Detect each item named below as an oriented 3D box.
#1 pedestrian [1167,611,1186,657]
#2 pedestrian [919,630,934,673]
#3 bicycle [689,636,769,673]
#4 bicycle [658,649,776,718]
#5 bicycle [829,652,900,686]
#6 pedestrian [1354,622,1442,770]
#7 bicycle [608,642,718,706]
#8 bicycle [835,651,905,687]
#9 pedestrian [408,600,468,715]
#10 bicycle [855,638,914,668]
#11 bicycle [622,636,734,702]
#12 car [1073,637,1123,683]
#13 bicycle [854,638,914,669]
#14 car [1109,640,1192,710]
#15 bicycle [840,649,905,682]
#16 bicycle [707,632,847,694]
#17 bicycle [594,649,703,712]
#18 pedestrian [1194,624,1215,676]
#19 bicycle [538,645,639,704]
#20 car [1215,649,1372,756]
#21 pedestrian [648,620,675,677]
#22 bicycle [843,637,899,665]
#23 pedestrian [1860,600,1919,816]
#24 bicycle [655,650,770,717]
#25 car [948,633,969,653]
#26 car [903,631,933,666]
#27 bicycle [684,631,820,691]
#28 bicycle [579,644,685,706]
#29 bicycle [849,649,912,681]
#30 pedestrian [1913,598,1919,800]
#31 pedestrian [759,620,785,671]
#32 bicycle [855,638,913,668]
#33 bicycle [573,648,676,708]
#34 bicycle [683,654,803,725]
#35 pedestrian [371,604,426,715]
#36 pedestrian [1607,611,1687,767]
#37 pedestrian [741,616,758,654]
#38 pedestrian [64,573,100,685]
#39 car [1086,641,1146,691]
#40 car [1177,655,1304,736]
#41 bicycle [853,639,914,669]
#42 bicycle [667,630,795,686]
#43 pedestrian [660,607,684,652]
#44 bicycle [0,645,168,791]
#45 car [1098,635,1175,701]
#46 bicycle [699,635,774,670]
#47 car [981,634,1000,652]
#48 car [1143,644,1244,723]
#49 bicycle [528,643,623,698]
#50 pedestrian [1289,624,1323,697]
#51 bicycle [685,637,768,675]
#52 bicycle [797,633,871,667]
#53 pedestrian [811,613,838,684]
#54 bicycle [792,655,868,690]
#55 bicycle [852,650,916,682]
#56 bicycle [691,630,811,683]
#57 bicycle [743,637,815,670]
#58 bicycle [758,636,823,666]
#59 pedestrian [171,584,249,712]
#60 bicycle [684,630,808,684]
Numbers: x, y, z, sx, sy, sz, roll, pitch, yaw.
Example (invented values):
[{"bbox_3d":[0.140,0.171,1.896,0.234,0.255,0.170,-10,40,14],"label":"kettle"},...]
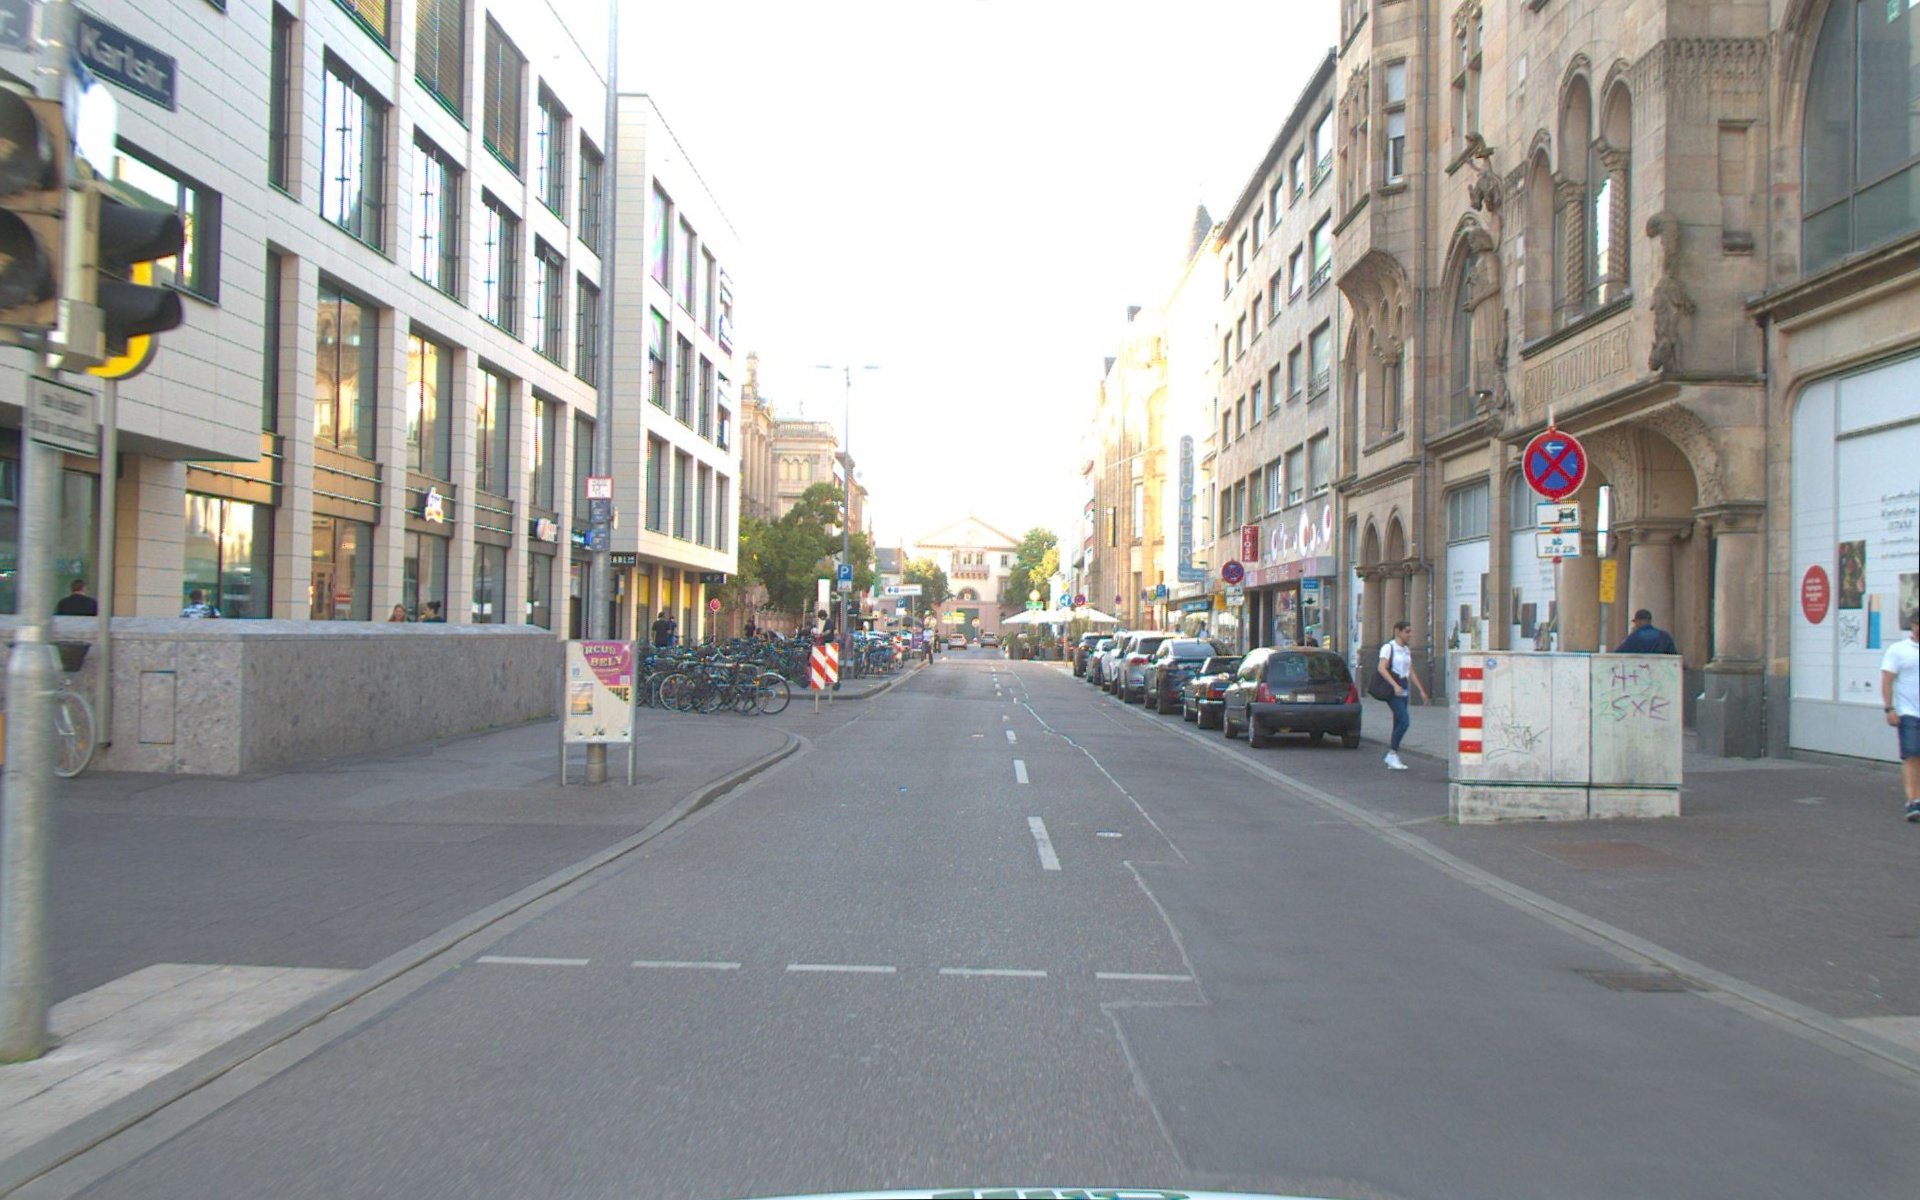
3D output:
[{"bbox_3d":[8.496,1.327,64.887,0.630,1.777,0.671,1,-1,-1],"label":"pedestrian"},{"bbox_3d":[-1.435,2.216,71.683,0.586,1.855,0.452,1,-1,1],"label":"pedestrian"},{"bbox_3d":[-6.454,1.516,46.256,2.103,0.970,0.640,1,-1,2],"label":"bicycle"},{"bbox_3d":[-4.265,1.481,29.109,1.945,1.141,0.553,3,-2,-29],"label":"bicycle"},{"bbox_3d":[-2.913,2.113,50.527,2.103,0.970,0.640,1,-1,2],"label":"bicycle"},{"bbox_3d":[5.292,1.149,20.005,0.818,1.751,0.681,1,-1,-7],"label":"pedestrian"},{"bbox_3d":[-5.617,1.404,31.322,1.945,1.141,0.553,3,-2,-29],"label":"bicycle"},{"bbox_3d":[-2.801,2.136,51.459,2.103,1.047,0.640,1,-1,2],"label":"bicycle"},{"bbox_3d":[-8.000,0.881,25.374,0.667,1.710,0.600,2,-1,-2],"label":"pedestrian"},{"bbox_3d":[-2.785,1.954,60.807,2.103,1.047,0.640,1,-1,2],"label":"bicycle"},{"bbox_3d":[-5.223,1.287,30.681,1.945,1.141,0.553,3,-2,-29],"label":"bicycle"},{"bbox_3d":[5.280,2.275,63.748,1.644,1.695,3.673,0,-1,0],"label":"car"},{"bbox_3d":[-2.740,1.936,59.772,2.103,1.047,0.640,1,-1,2],"label":"bicycle"},{"bbox_3d":[4.730,1.847,41.468,1.644,1.642,4.028,0,-1,0],"label":"car"},{"bbox_3d":[-2.940,2.210,55.669,2.103,1.047,0.640,1,-1,2],"label":"bicycle"},{"bbox_3d":[-3.896,1.354,35.307,2.851,1.277,0.797,1,-1,-26],"label":"bicycle"},{"bbox_3d":[-6.008,1.551,31.937,1.945,1.141,0.553,3,-2,-29],"label":"bicycle"},{"bbox_3d":[8.697,1.759,58.874,0.630,1.831,0.671,1,-1,-1],"label":"pedestrian"},{"bbox_3d":[-7.758,1.558,34.564,1.945,1.141,0.553,3,-2,-29],"label":"bicycle"},{"bbox_3d":[4.946,1.484,24.950,1.644,1.449,3.673,0,-1,0],"label":"car"},{"bbox_3d":[-8.832,1.435,48.920,0.666,1.649,0.573,1,-1,0],"label":"pedestrian"},{"bbox_3d":[-3.483,1.996,64.715,2.103,1.047,0.640,1,-1,2],"label":"bicycle"},{"bbox_3d":[7.854,0.867,13.531,0.612,1.719,0.671,1,-1,-1],"label":"pedestrian"},{"bbox_3d":[-4.452,1.509,29.788,1.945,1.141,0.553,3,-2,-29],"label":"bicycle"},{"bbox_3d":[-0.168,4.270,164.468,1.953,1.937,4.000,2,-1,0],"label":"car"},{"bbox_3d":[-2.501,2.895,99.409,1.675,2.049,4.000,1,-1,0],"label":"car"},{"bbox_3d":[-4.563,1.344,36.397,2.851,1.277,0.797,1,-1,-26],"label":"bicycle"},{"bbox_3d":[-6.446,1.483,32.560,1.945,1.141,0.553,3,-2,-29],"label":"bicycle"},{"bbox_3d":[-2.748,2.247,57.188,2.103,1.047,0.640,1,-1,2],"label":"bicycle"},{"bbox_3d":[8.503,0.848,13.910,0.612,1.719,0.626,1,-1,-1],"label":"pedestrian"},{"bbox_3d":[-5.852,1.413,51.523,0.736,1.556,0.485,1,-1,0],"label":"pedestrian"},{"bbox_3d":[-2.832,1.965,61.534,2.103,1.047,0.640,1,-1,2],"label":"bicycle"},{"bbox_3d":[-6.787,1.582,33.508,1.945,1.141,0.553,3,-2,-29],"label":"bicycle"},{"bbox_3d":[-3.708,1.532,28.340,1.945,1.141,0.553,3,-2,-29],"label":"bicycle"},{"bbox_3d":[-8.686,0.919,25.587,0.588,1.675,0.546,2,-1,-2],"label":"pedestrian"},{"bbox_3d":[7.756,0.995,18.690,0.612,1.719,0.671,1,-1,-1],"label":"pedestrian"},{"bbox_3d":[-9.252,1.545,72.767,0.666,1.649,0.573,1,-1,0],"label":"pedestrian"},{"bbox_3d":[-12.271,0.409,23.124,0.385,1.541,0.501,2,-1,-27],"label":"pedestrian"},{"bbox_3d":[5.115,2.144,54.559,1.644,1.574,3.673,0,-1,0],"label":"car"},{"bbox_3d":[5.042,1.694,30.164,1.644,1.314,4.046,0,-1,0],"label":"car"},{"bbox_3d":[-2.738,1.922,59.002,2.103,1.047,0.640,1,-1,2],"label":"bicycle"},{"bbox_3d":[-5.340,1.351,38.592,2.851,1.277,0.797,1,-1,-26],"label":"bicycle"},{"bbox_3d":[-10.674,1.078,61.294,0.716,1.649,0.661,1,-1,0],"label":"pedestrian"},{"bbox_3d":[-7.674,0.985,14.033,1.661,1.141,0.451,2,-1,3],"label":"bicycle"},{"bbox_3d":[5.007,1.895,47.434,1.762,1.799,4.397,0,-1,0],"label":"car"},{"bbox_3d":[-6.592,1.551,48.859,2.103,0.970,0.640,1,-1,2],"label":"bicycle"},{"bbox_3d":[3.401,4.731,183.284,1.953,1.937,4.000,2,-1,0],"label":"car"},{"bbox_3d":[4.933,1.743,35.352,1.644,1.574,3.673,0,-1,0],"label":"car"},{"bbox_3d":[-8.532,1.564,36.741,1.945,1.141,0.553,3,-2,-29],"label":"bicycle"},{"bbox_3d":[8.214,1.425,39.295,0.630,1.719,0.671,1,-1,-1],"label":"pedestrian"},{"bbox_3d":[-6.270,1.491,44.452,2.103,0.970,0.640,1,-1,2],"label":"bicycle"},{"bbox_3d":[-3.737,1.473,49.032,2.103,0.970,0.640,1,-1,2],"label":"bicycle"},{"bbox_3d":[-3.592,1.276,43.811,0.645,1.855,0.527,1,-1,-10],"label":"pedestrian"},{"bbox_3d":[-3.725,2.076,47.493,2.103,0.970,0.640,1,-1,2],"label":"bicycle"},{"bbox_3d":[-2.593,2.240,56.457,2.103,1.047,0.640,1,-1,2],"label":"bicycle"},{"bbox_3d":[-5.173,1.405,41.037,2.851,1.277,0.797,1,-1,-26],"label":"bicycle"},{"bbox_3d":[-5.533,1.642,50.739,2.103,0.970,0.640,1,-1,2],"label":"bicycle"},{"bbox_3d":[-5.783,1.731,56.467,2.103,0.970,0.640,1,-1,2],"label":"bicycle"},{"bbox_3d":[-10.802,0.690,23.842,0.766,1.782,0.600,2,-1,-2],"label":"pedestrian"},{"bbox_3d":[-5.172,1.386,40.063,2.851,1.277,0.797,1,-1,-26],"label":"bicycle"}]
